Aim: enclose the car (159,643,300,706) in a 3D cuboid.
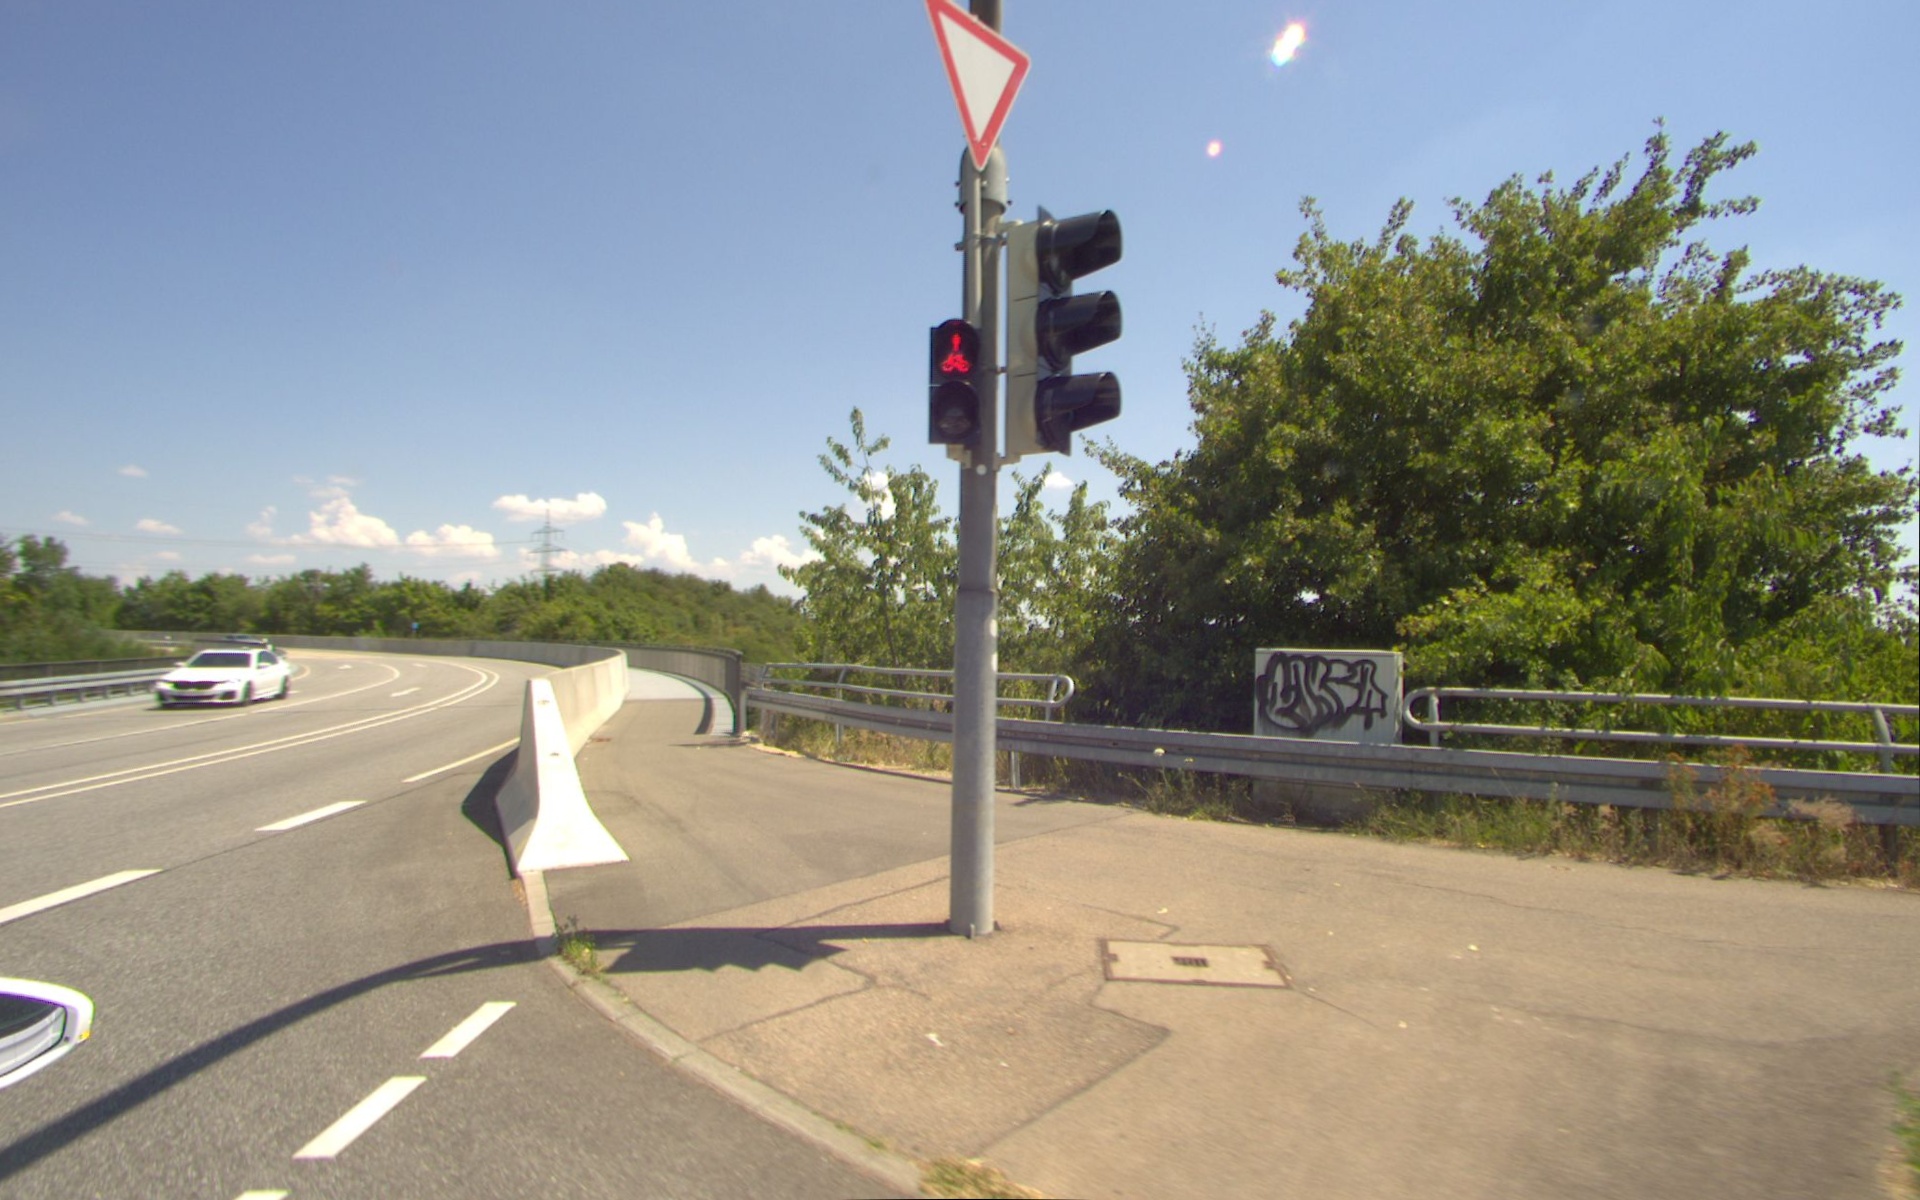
[{"bbox_3d":[-19.652,1.942,27.186,1.812,1.503,4.827,-1,-2,-20],"label":"car"}]
